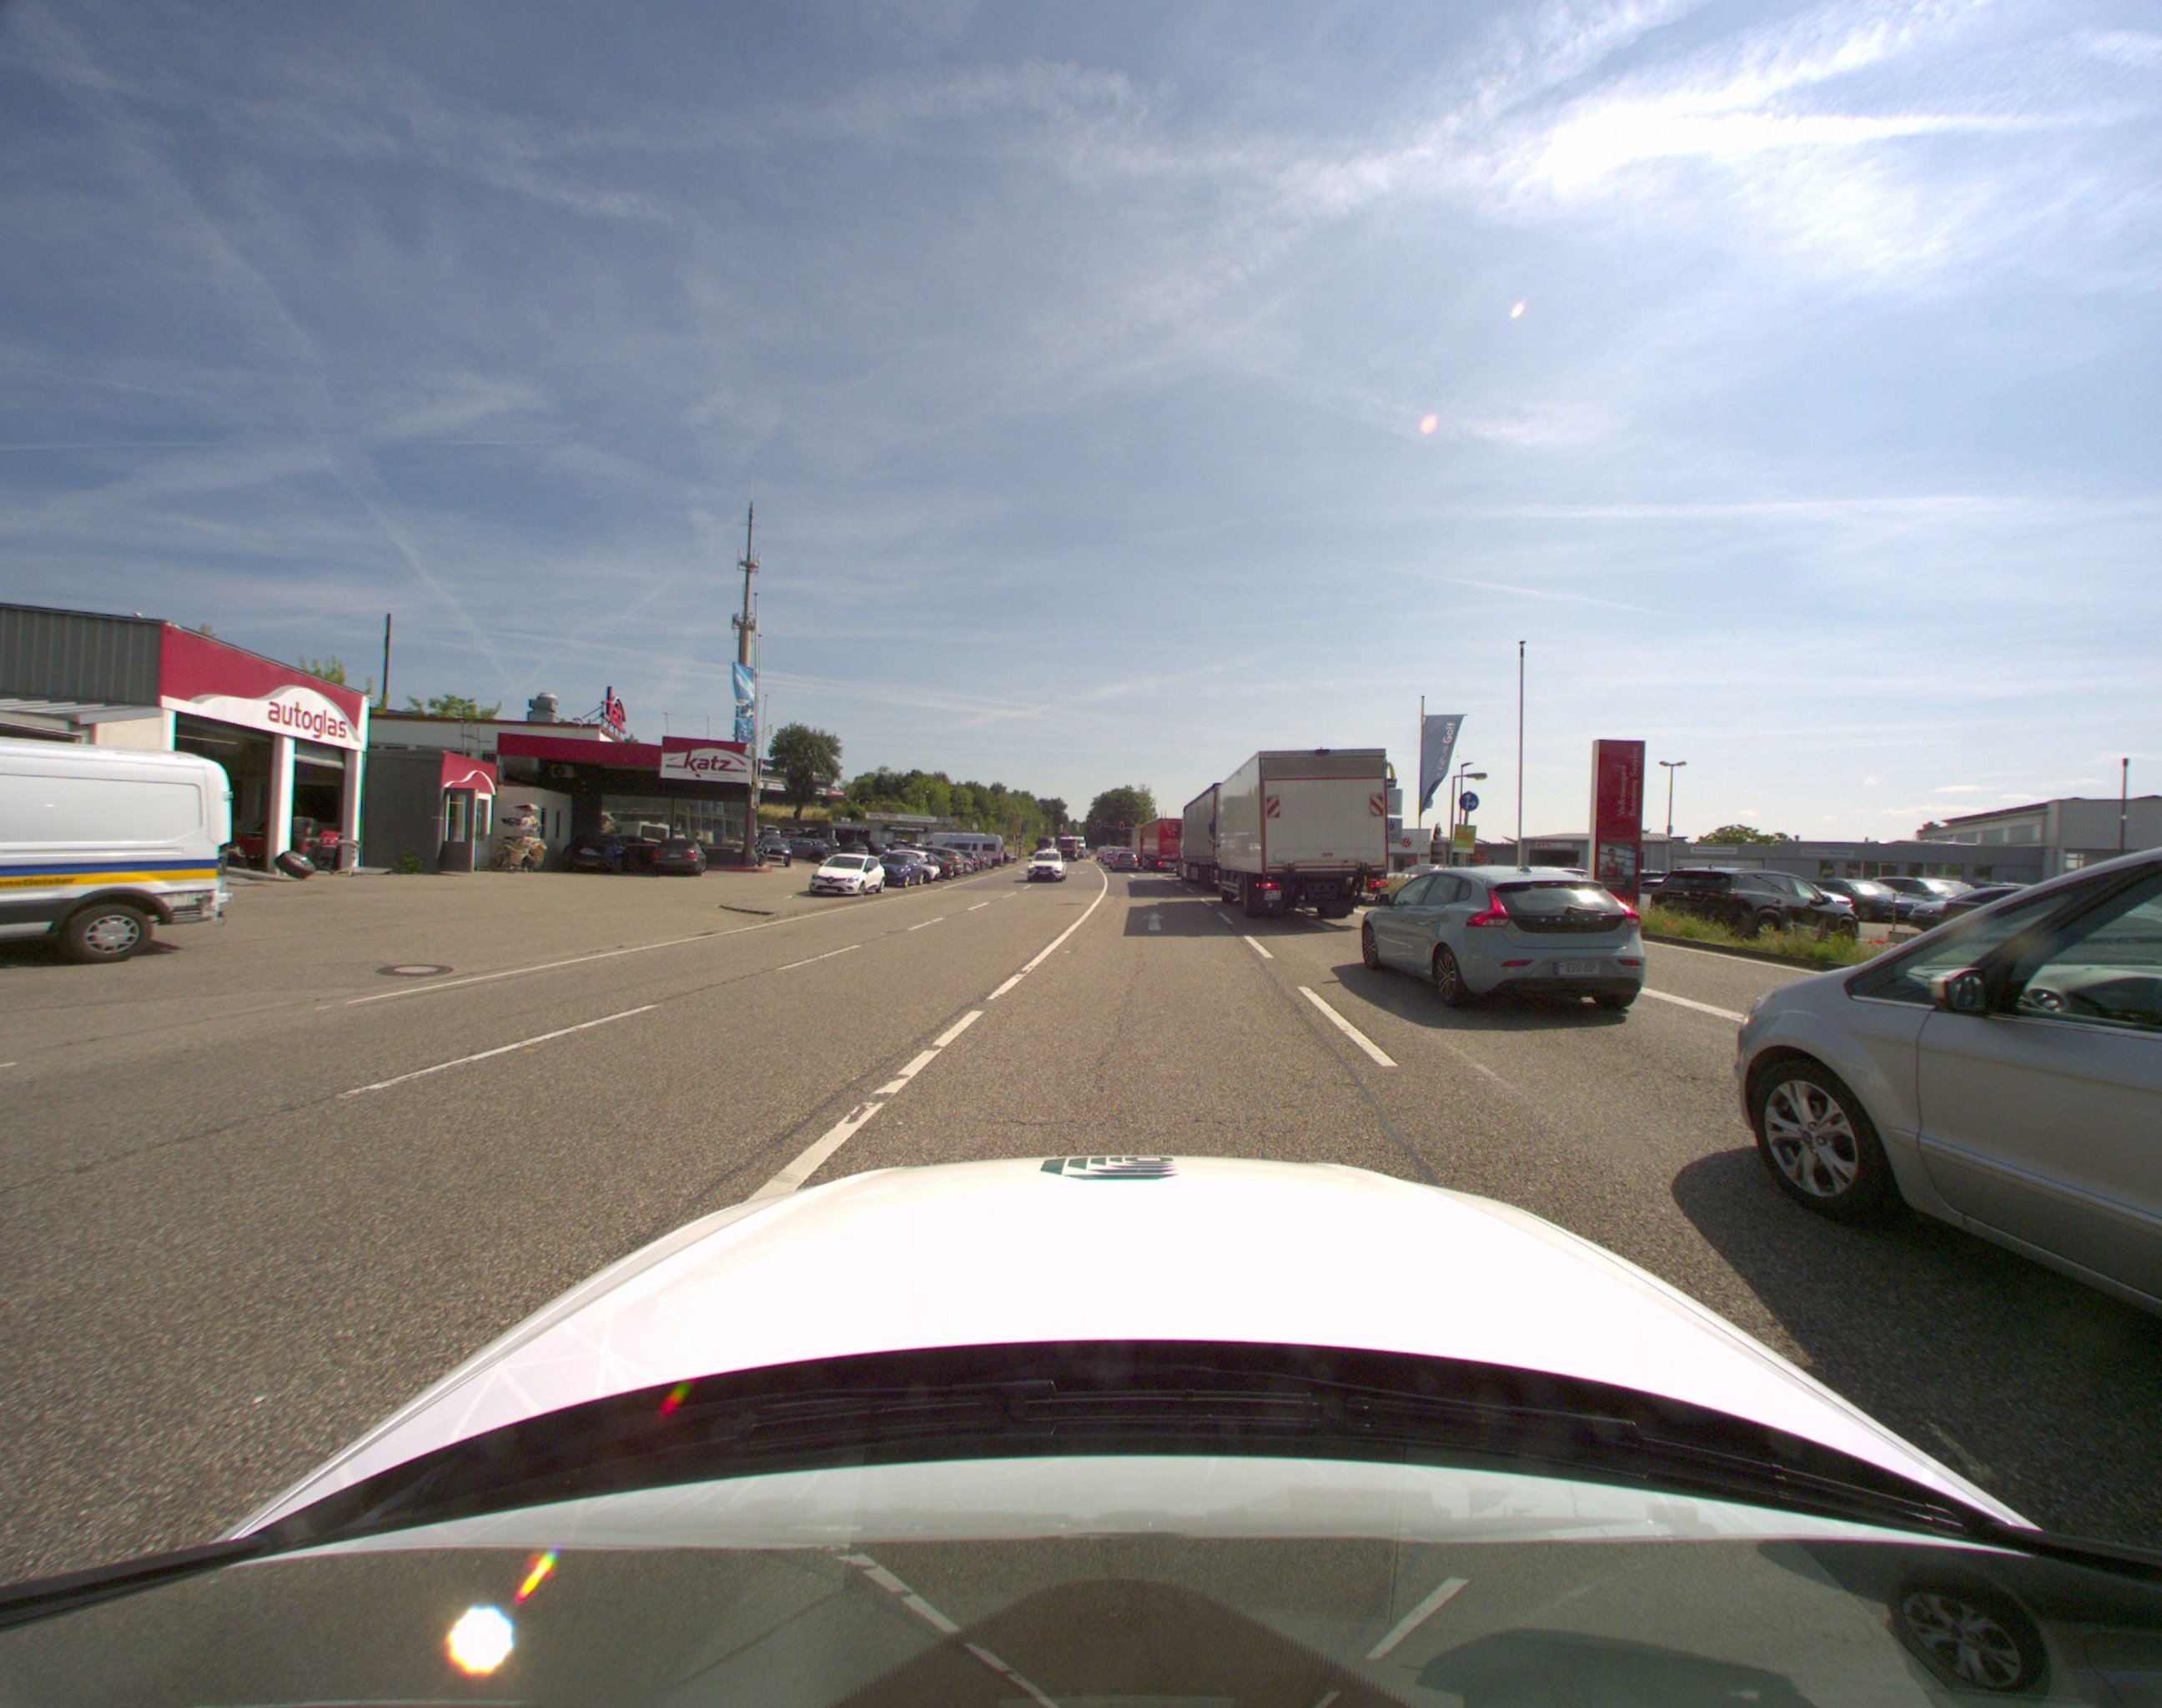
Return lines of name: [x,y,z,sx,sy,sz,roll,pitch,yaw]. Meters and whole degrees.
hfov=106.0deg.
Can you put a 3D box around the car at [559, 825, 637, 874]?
car: [-18.092,-0.202,30.677,1.861,1.504,3.971,5,1,-23]

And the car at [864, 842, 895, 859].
car: [-19.765,-0.372,79.829,1.775,1.588,3.790,0,0,-33]

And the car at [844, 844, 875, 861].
car: [-21.050,-0.185,77.458,1.775,1.588,3.790,0,0,-33]

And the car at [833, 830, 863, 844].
car: [-25.712,-1.915,89.851,1.745,1.450,3.705,2,-1,-41]

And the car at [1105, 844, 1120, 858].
car: [3.559,-0.286,91.744,1.720,1.519,3.314,2,0,2]

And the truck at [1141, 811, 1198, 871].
truck: [6.979,-1.021,67.146,2.947,4.269,16.584,1,0,0]

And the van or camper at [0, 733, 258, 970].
van or camper: [-12.658,-0.111,8.024,2.138,2.498,5.974,5,1,16]

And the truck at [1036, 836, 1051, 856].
truck: [-7.243,-1.540,156.712,2.807,3.786,6.981,0,0,-3]

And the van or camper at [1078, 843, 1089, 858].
van or camper: [0.526,-0.718,166.534,2.217,2.840,5.710,2,0,0]

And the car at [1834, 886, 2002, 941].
car: [25.193,1.746,24.698,1.551,1.427,3.599,0,0,4]

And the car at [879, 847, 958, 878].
car: [-8.321,0.426,42.007,3.697,1.525,1.791,0,0,-2]

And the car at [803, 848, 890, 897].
car: [-8.308,0.620,29.246,1.772,1.618,4.003,1,0,3]

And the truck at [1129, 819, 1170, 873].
truck: [7.154,-0.868,87.802,3.052,5.220,17.007,1,0,0]

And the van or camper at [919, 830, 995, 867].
van or camper: [-10.256,-0.483,67.622,5.872,2.873,2.290,1,1,0]

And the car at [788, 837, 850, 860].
car: [-18.026,-0.386,56.039,3.954,1.532,1.756,0,0,-23]

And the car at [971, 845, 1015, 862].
car: [-8.071,-0.041,75.142,3.805,1.539,1.842,1,0,-1]

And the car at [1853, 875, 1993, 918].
car: [31.250,1.523,30.390,1.551,1.409,3.692,0,0,3]

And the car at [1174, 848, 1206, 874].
car: [7.203,0.441,54.237,1.811,1.685,4.003,0,0,3]

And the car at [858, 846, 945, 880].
car: [-8.646,0.426,39.446,3.785,1.525,1.846,1,0,-2]

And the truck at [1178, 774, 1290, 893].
truck: [6.523,-0.791,37.823,2.878,4.266,16.722,1,0,3]

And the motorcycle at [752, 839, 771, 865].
motorcycle: [-16.024,-0.106,40.866,0.772,1.261,2.041,1,0,-20]

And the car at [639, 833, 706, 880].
car: [-15.959,0.057,32.031,1.860,1.504,4.366,4,1,-21]

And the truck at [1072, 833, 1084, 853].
truck: [-0.630,-2.466,180.332,2.544,4.307,7.595,0,0,0]

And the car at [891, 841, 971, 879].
car: [-8.144,0.294,44.460,3.875,1.716,1.806,5,0,-2]

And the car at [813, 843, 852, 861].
car: [-23.529,-0.198,76.966,3.780,1.588,1.780,1,0,40]

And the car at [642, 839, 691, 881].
car: [-19.117,0.246,37.663,1.706,1.759,3.732,5,-1,-24]

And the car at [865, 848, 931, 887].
car: [-8.041,0.579,36.157,1.772,1.494,3.784,5,0,3]

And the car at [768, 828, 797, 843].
car: [-32.344,-1.983,88.133,1.745,1.450,3.705,2,-1,-41]

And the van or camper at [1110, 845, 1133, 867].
van or camper: [3.643,0.169,73.594,1.846,1.905,3.784,1,0,0]

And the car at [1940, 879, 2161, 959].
car: [23.253,1.467,19.420,1.607,1.594,3.864,0,0,3]

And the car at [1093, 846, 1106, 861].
car: [2.625,-0.059,114.238,1.719,1.909,3.315,2,0,3]

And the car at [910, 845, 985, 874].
car: [-8.505,0.339,52.170,4.446,1.484,1.771,5,0,-2]

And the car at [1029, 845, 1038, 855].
car: [-10.811,-0.903,186.444,1.990,2.014,3.994,2,0,-4]

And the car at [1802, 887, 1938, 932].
car: [28.518,1.971,29.609,1.552,1.409,3.597,0,0,2]

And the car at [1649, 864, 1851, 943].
car: [13.432,0.932,16.359,3.596,1.409,1.553,0,0,-21]

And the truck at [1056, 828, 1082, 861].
truck: [-1.531,-1.225,109.696,2.945,4.209,10.651,-1,0,2]

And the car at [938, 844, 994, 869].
car: [-8.375,0.174,59.502,3.697,1.484,1.707,5,0,-2]

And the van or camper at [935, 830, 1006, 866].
van or camper: [-8.769,-0.484,65.128,5.226,2.731,2.211,1,0,1]

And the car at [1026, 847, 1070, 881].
car: [-1.685,0.519,42.883,1.927,1.674,4.004,-1,0,3]

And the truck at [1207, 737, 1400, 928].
truck: [5.349,-0.465,22.008,2.866,3.811,11.153,1,0,4]

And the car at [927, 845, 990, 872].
car: [-8.190,0.270,54.628,3.834,1.484,1.801,5,0,-2]

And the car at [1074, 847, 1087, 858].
car: [-0.063,-0.245,124.940,1.800,1.560,4.388,0,0,1]

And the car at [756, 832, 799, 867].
car: [-16.865,-0.233,45.121,1.830,1.675,4.094,7,-3,-24]

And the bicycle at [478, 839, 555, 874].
bicycle: [-18.937,0.085,27.347,1.999,0.971,0.412,6,-2,-21]

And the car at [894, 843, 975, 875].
car: [-8.420,0.281,47.113,4.265,1.484,1.835,5,0,-2]

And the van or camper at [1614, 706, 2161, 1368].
van or camper: [3.800,0.510,2.189,1.738,1.787,5.140,1,0,5]

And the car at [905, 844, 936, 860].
car: [-16.177,-0.205,82.120,1.775,1.588,3.790,0,0,-33]

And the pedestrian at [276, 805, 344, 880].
pedestrian: [-18.804,-0.273,19.873,0.719,1.762,0.896,1,-1,4]

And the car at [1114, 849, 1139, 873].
car: [3.320,0.479,59.054,1.782,1.638,3.507,0,0,4]

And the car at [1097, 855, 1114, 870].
car: [2.512,0.854,82.927,1.720,1.519,3.313,2,0,2]

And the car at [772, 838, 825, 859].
car: [-21.883,-0.425,63.064,3.832,1.588,1.756,0,0,-23]

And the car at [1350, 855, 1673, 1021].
car: [4.534,0.749,9.386,1.727,1.428,4.230,1,0,4]
